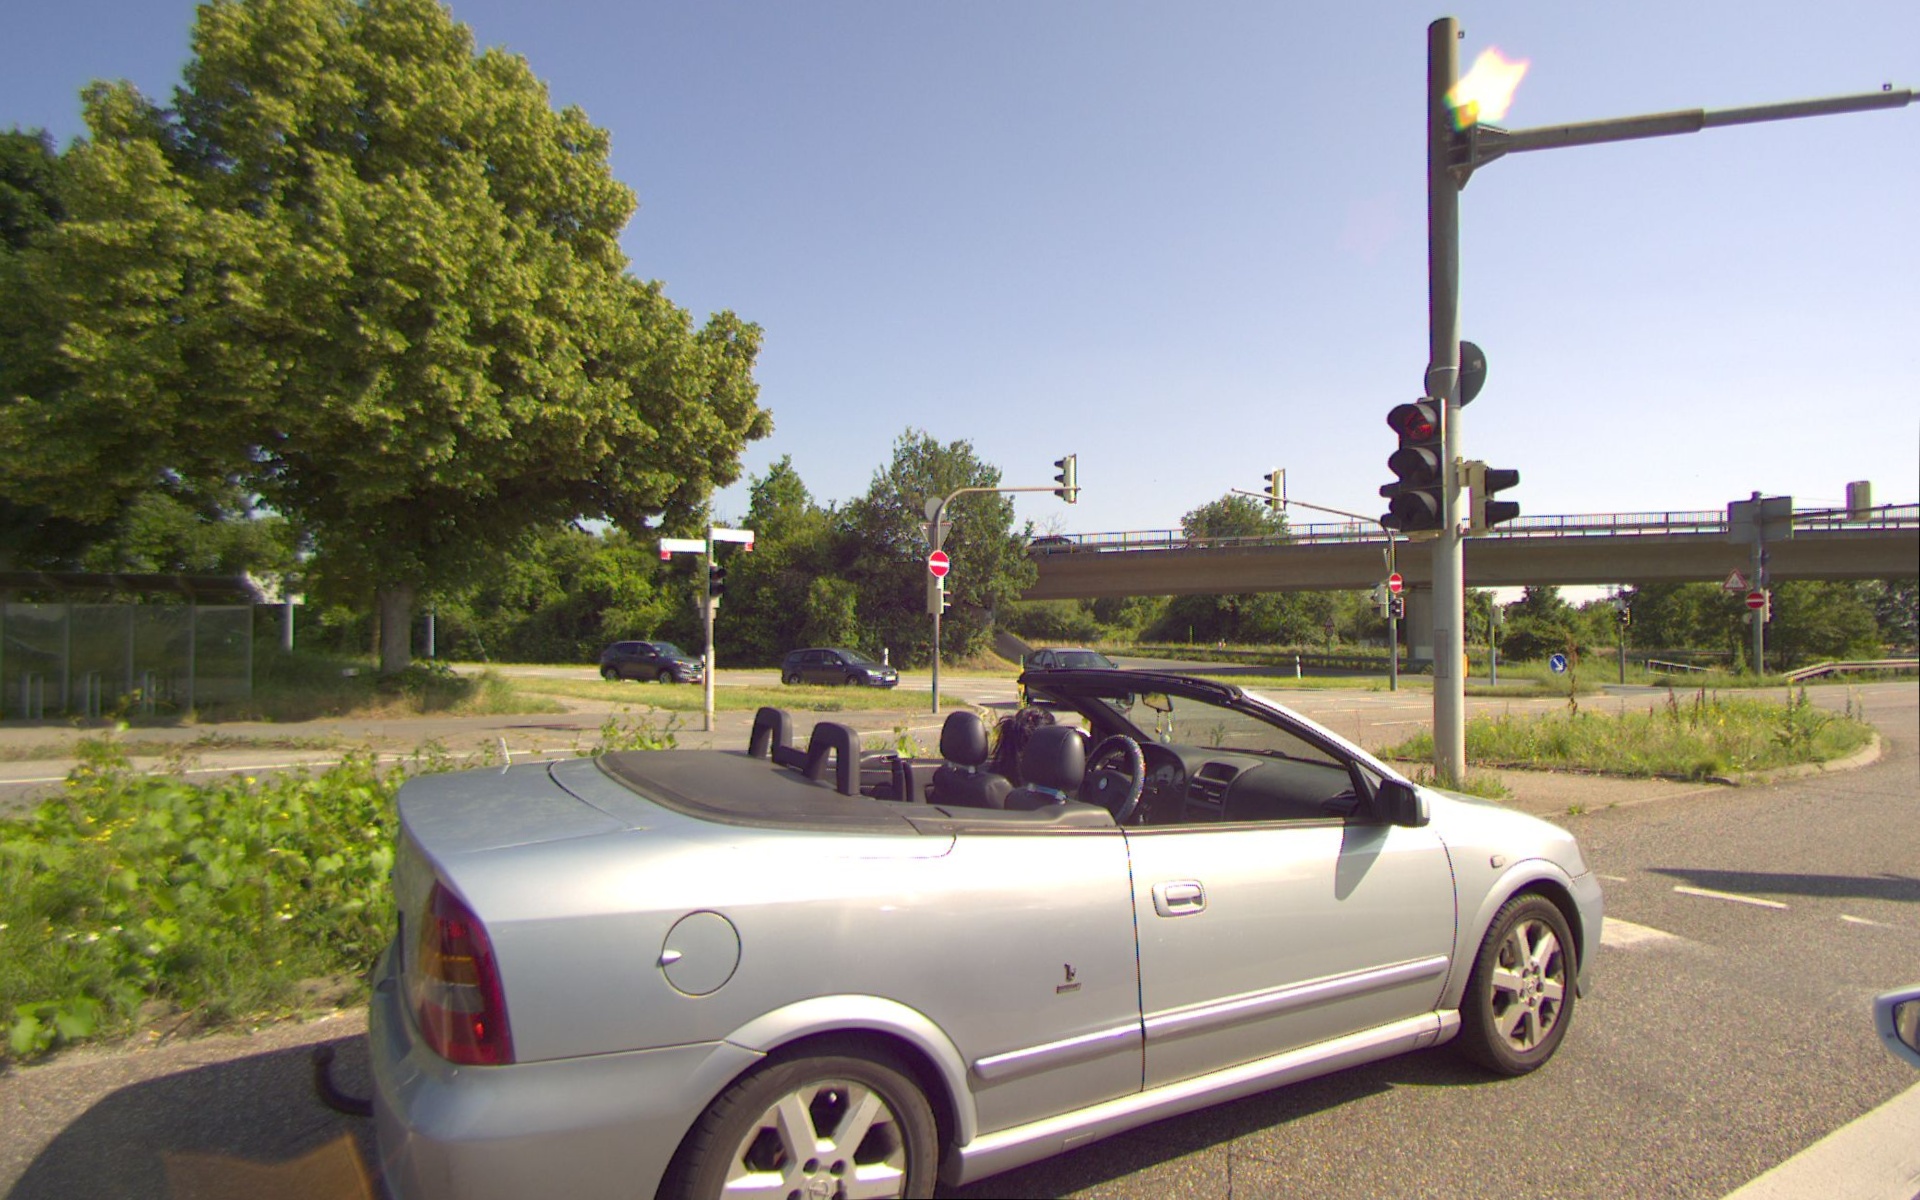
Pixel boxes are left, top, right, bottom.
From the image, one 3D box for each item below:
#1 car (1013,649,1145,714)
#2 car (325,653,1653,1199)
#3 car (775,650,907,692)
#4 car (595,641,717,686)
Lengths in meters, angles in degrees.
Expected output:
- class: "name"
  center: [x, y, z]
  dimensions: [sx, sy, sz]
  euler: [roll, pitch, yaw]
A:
- class: "car"
  center: [2.827, 1.950, 24.905]
  dimensions: [1.840, 1.443, 4.115]
  euler: [1, -2, -15]
- class: "car"
  center: [0.340, 0.872, 3.340]
  dimensions: [4.049, 1.352, 1.666]
  euler: [1, -3, -30]
- class: "car"
  center: [-4.013, 2.356, 33.682]
  dimensions: [4.276, 1.297, 1.648]
  euler: [-1, -2, 30]
- class: "car"
  center: [-11.371, 2.332, 37.596]
  dimensions: [4.270, 1.616, 1.651]
  euler: [-1, -2, 22]
